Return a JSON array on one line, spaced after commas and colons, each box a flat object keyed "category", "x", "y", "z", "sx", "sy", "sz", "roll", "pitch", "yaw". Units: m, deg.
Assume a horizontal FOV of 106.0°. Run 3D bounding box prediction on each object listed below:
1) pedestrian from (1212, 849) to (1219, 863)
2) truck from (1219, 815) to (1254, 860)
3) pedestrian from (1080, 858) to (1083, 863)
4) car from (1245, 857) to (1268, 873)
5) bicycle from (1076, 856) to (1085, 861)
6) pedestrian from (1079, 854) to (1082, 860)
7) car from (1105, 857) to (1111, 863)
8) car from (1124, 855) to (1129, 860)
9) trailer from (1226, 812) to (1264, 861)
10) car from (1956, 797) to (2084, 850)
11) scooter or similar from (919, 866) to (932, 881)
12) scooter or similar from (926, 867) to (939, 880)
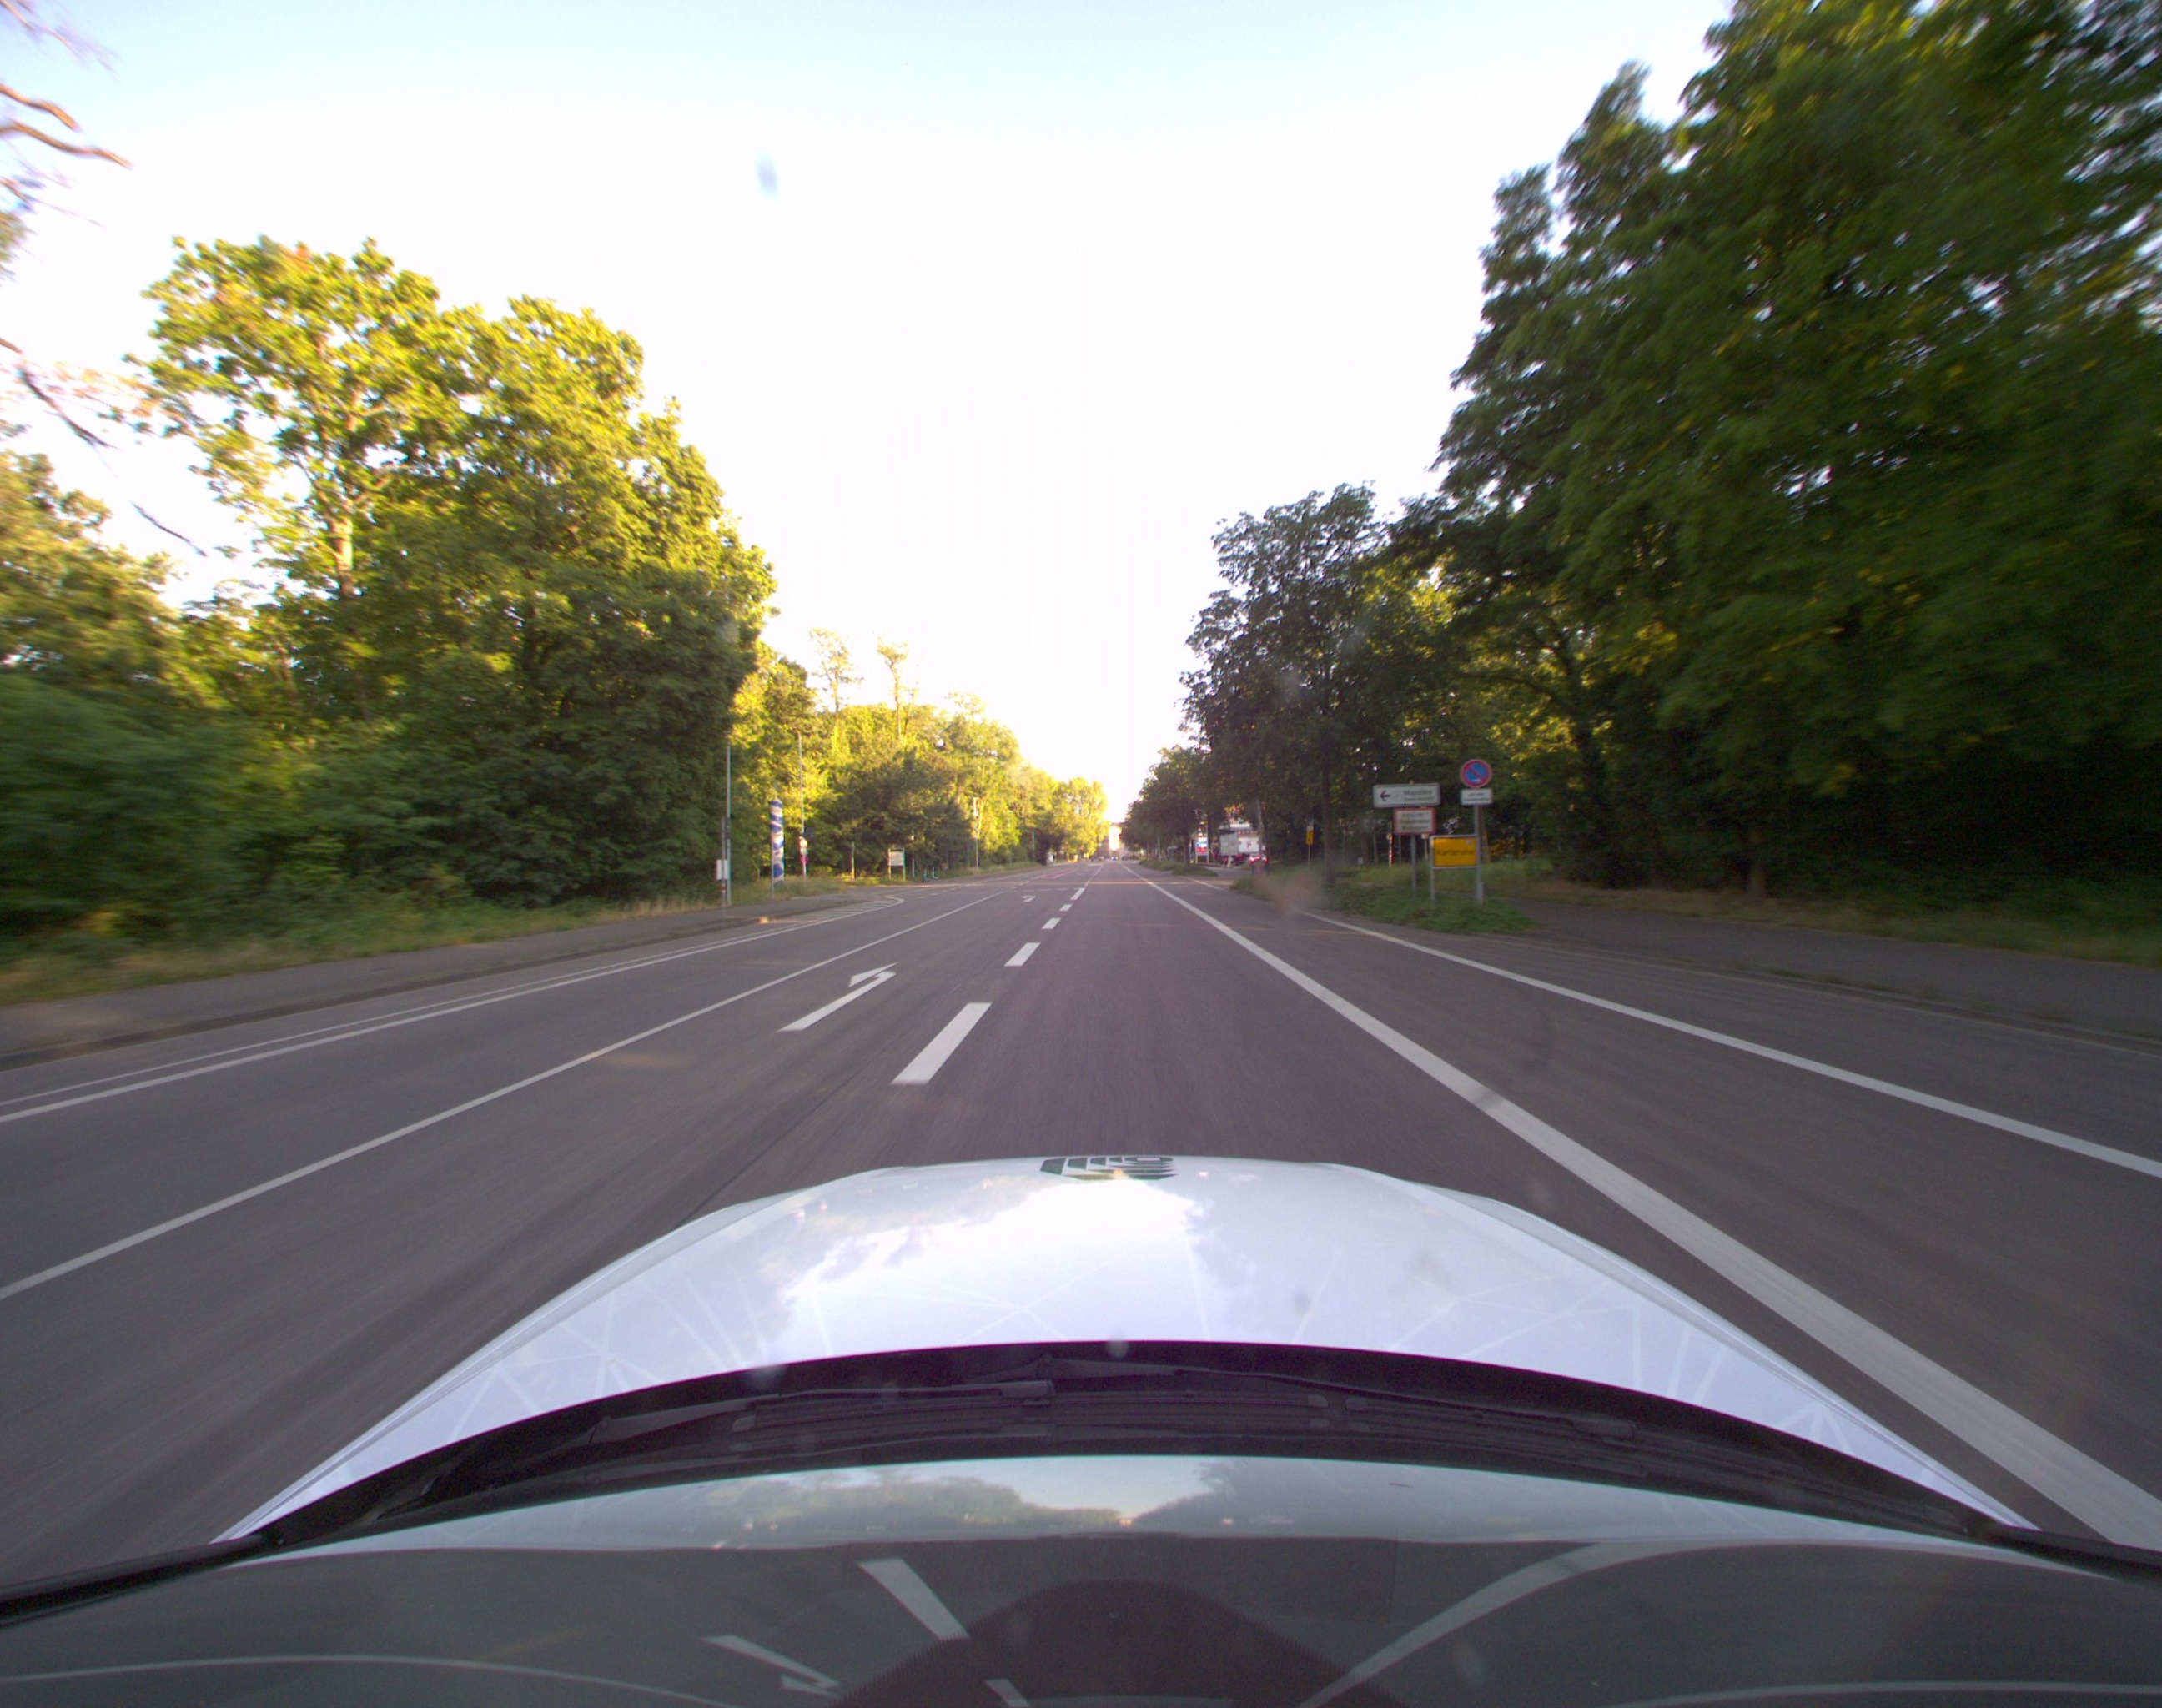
[{"category": "pedestrian", "x": 17.688, "y": 0.253, "z": 107.036, "sx": 0.753, "sy": 1.798, "sz": 0.707, "roll": 0, "pitch": 0, "yaw": 5}, {"category": "truck", "x": 19.656, "y": -1.997, "z": 103.500, "sx": 3.021, "sy": 5.455, "sz": 8.415, "roll": -1, "pitch": 0, "yaw": 2}, {"category": "pedestrian", "x": 0.219, "y": 1.927, "z": 242.349, "sx": 0.785, "sy": 1.580, "sz": 0.748, "roll": 0, "pitch": 0, "yaw": 11}, {"category": "car", "x": 18.052, "y": 1.140, "z": 84.008, "sx": 1.761, "sy": 1.583, "sz": 4.826, "roll": 0, "pitch": 0, "yaw": 6}, {"category": "bicycle", "x": -0.139, "y": 1.337, "z": 235.135, "sx": 2.446, "sy": 1.195, "sz": 0.759, "roll": -2, "pitch": -1, "yaw": 11}, {"category": "pedestrian", "x": -0.128, "y": 0.865, "z": 235.184, "sx": 0.785, "sy": 1.580, "sz": 0.748, "roll": 0, "pitch": 0, "yaw": 11}, {"category": "car", "x": 7.838, "y": 1.737, "z": 234.965, "sx": 1.487, "sy": 1.486, "sz": 3.493, "roll": -2, "pitch": 0, "yaw": 3}, {"category": "car", "x": 14.094, "y": 1.119, "z": 254.542, "sx": 1.487, "sy": 1.486, "sz": 3.493, "roll": -2, "pitch": -1, "yaw": 3}, {"category": "trailer", "x": 19.366, "y": -1.956, "z": 96.646, "sx": 3.008, "sy": 5.462, "sz": 7.938, "roll": -2, "pitch": 0, "yaw": 2}, {"category": "car", "x": 28.606, "y": -0.879, "z": 24.945, "sx": 1.521, "sy": 1.482, "sz": 3.666, "roll": -1, "pitch": 0, "yaw": 32}, {"category": "scooter or similar", "x": -12.003, "y": 1.524, "z": 62.930, "sx": 0.357, "sy": 1.110, "sz": 0.885, "roll": -2, "pitch": -1, "yaw": 44}, {"category": "scooter or similar", "x": -12.108, "y": 1.599, "z": 66.348, "sx": 0.901, "sy": 1.068, "sz": 0.492, "roll": -1, "pitch": -1, "yaw": -24}]
